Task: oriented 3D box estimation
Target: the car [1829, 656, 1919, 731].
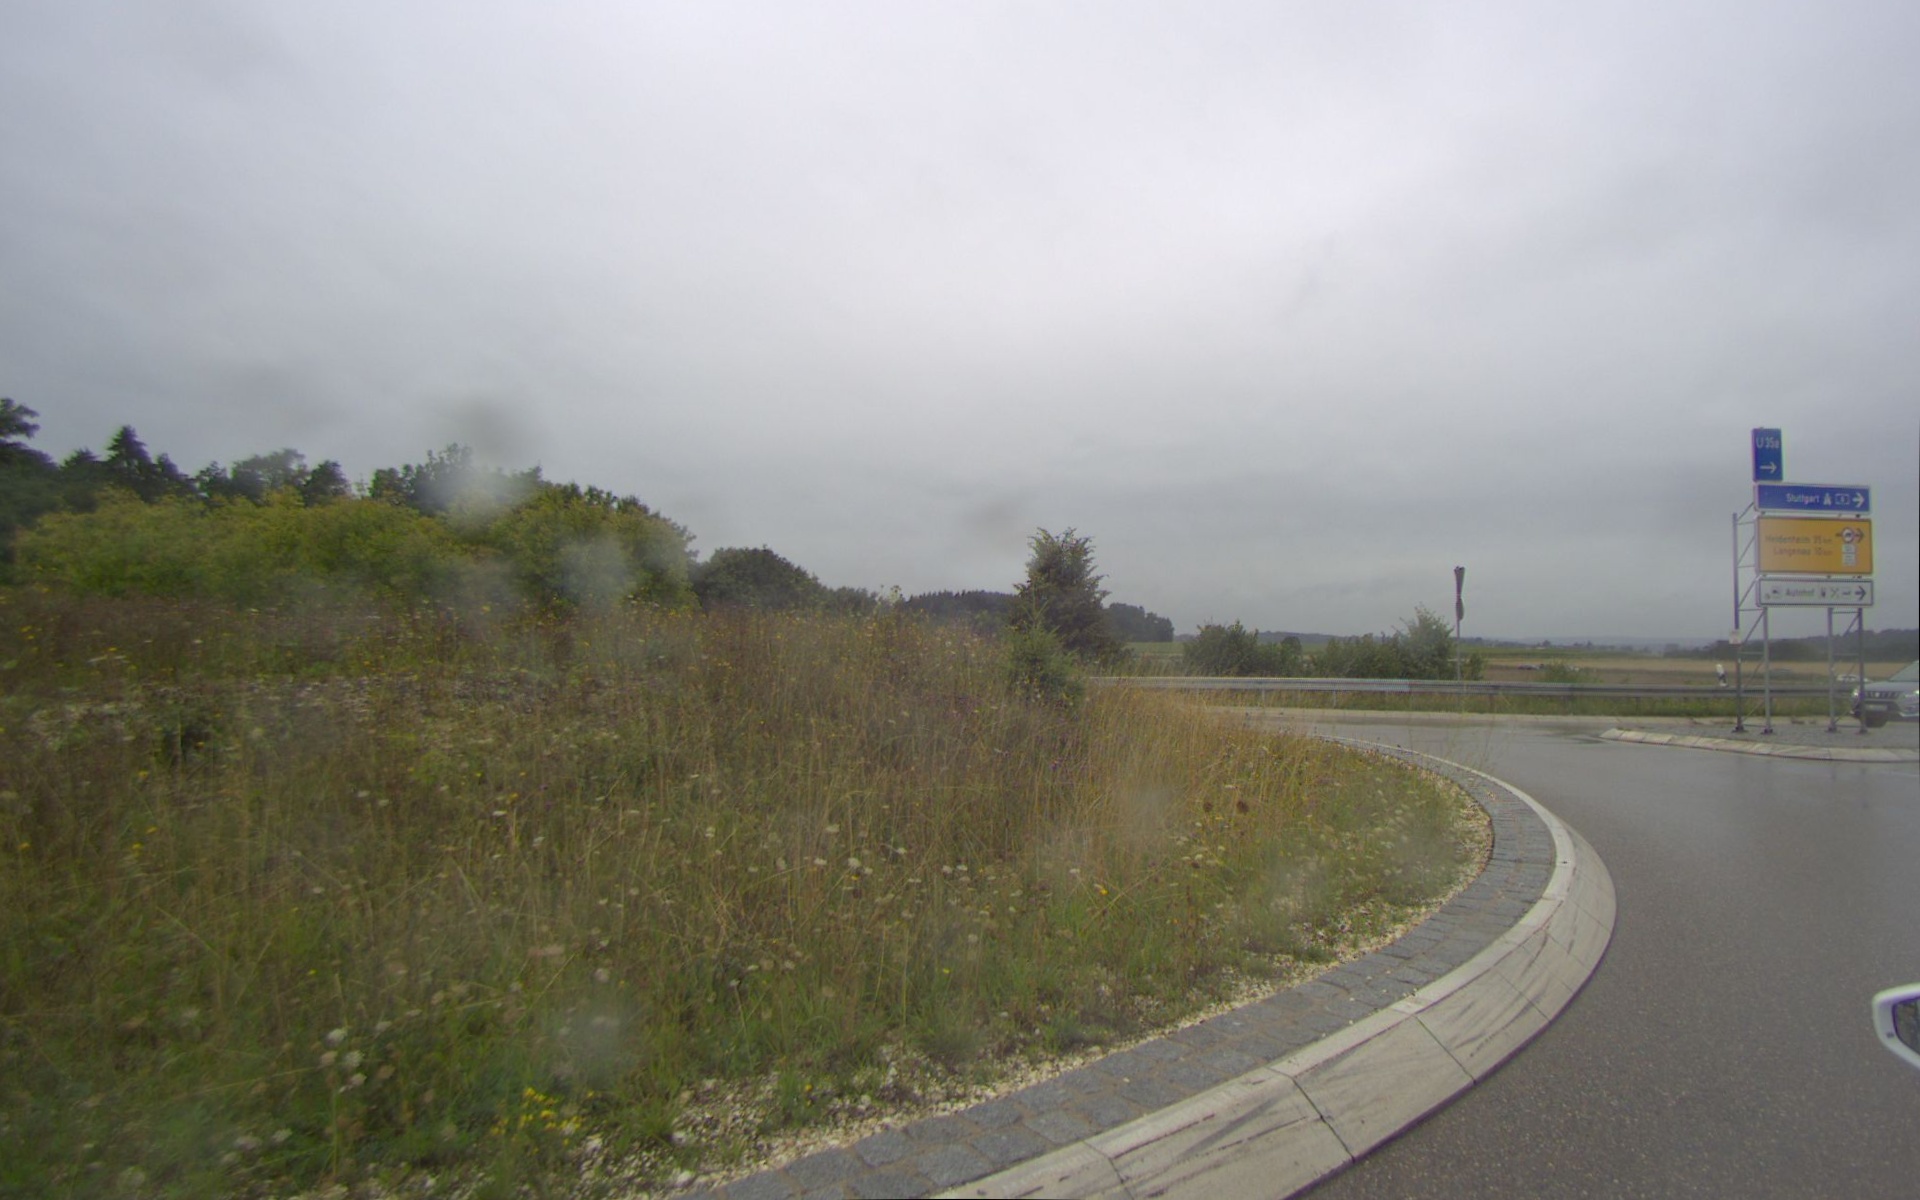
[{"bbox_3d":[22.672,2.130,23.150,3.924,1.595,1.805,1,-2,-5],"label":"car"}]
